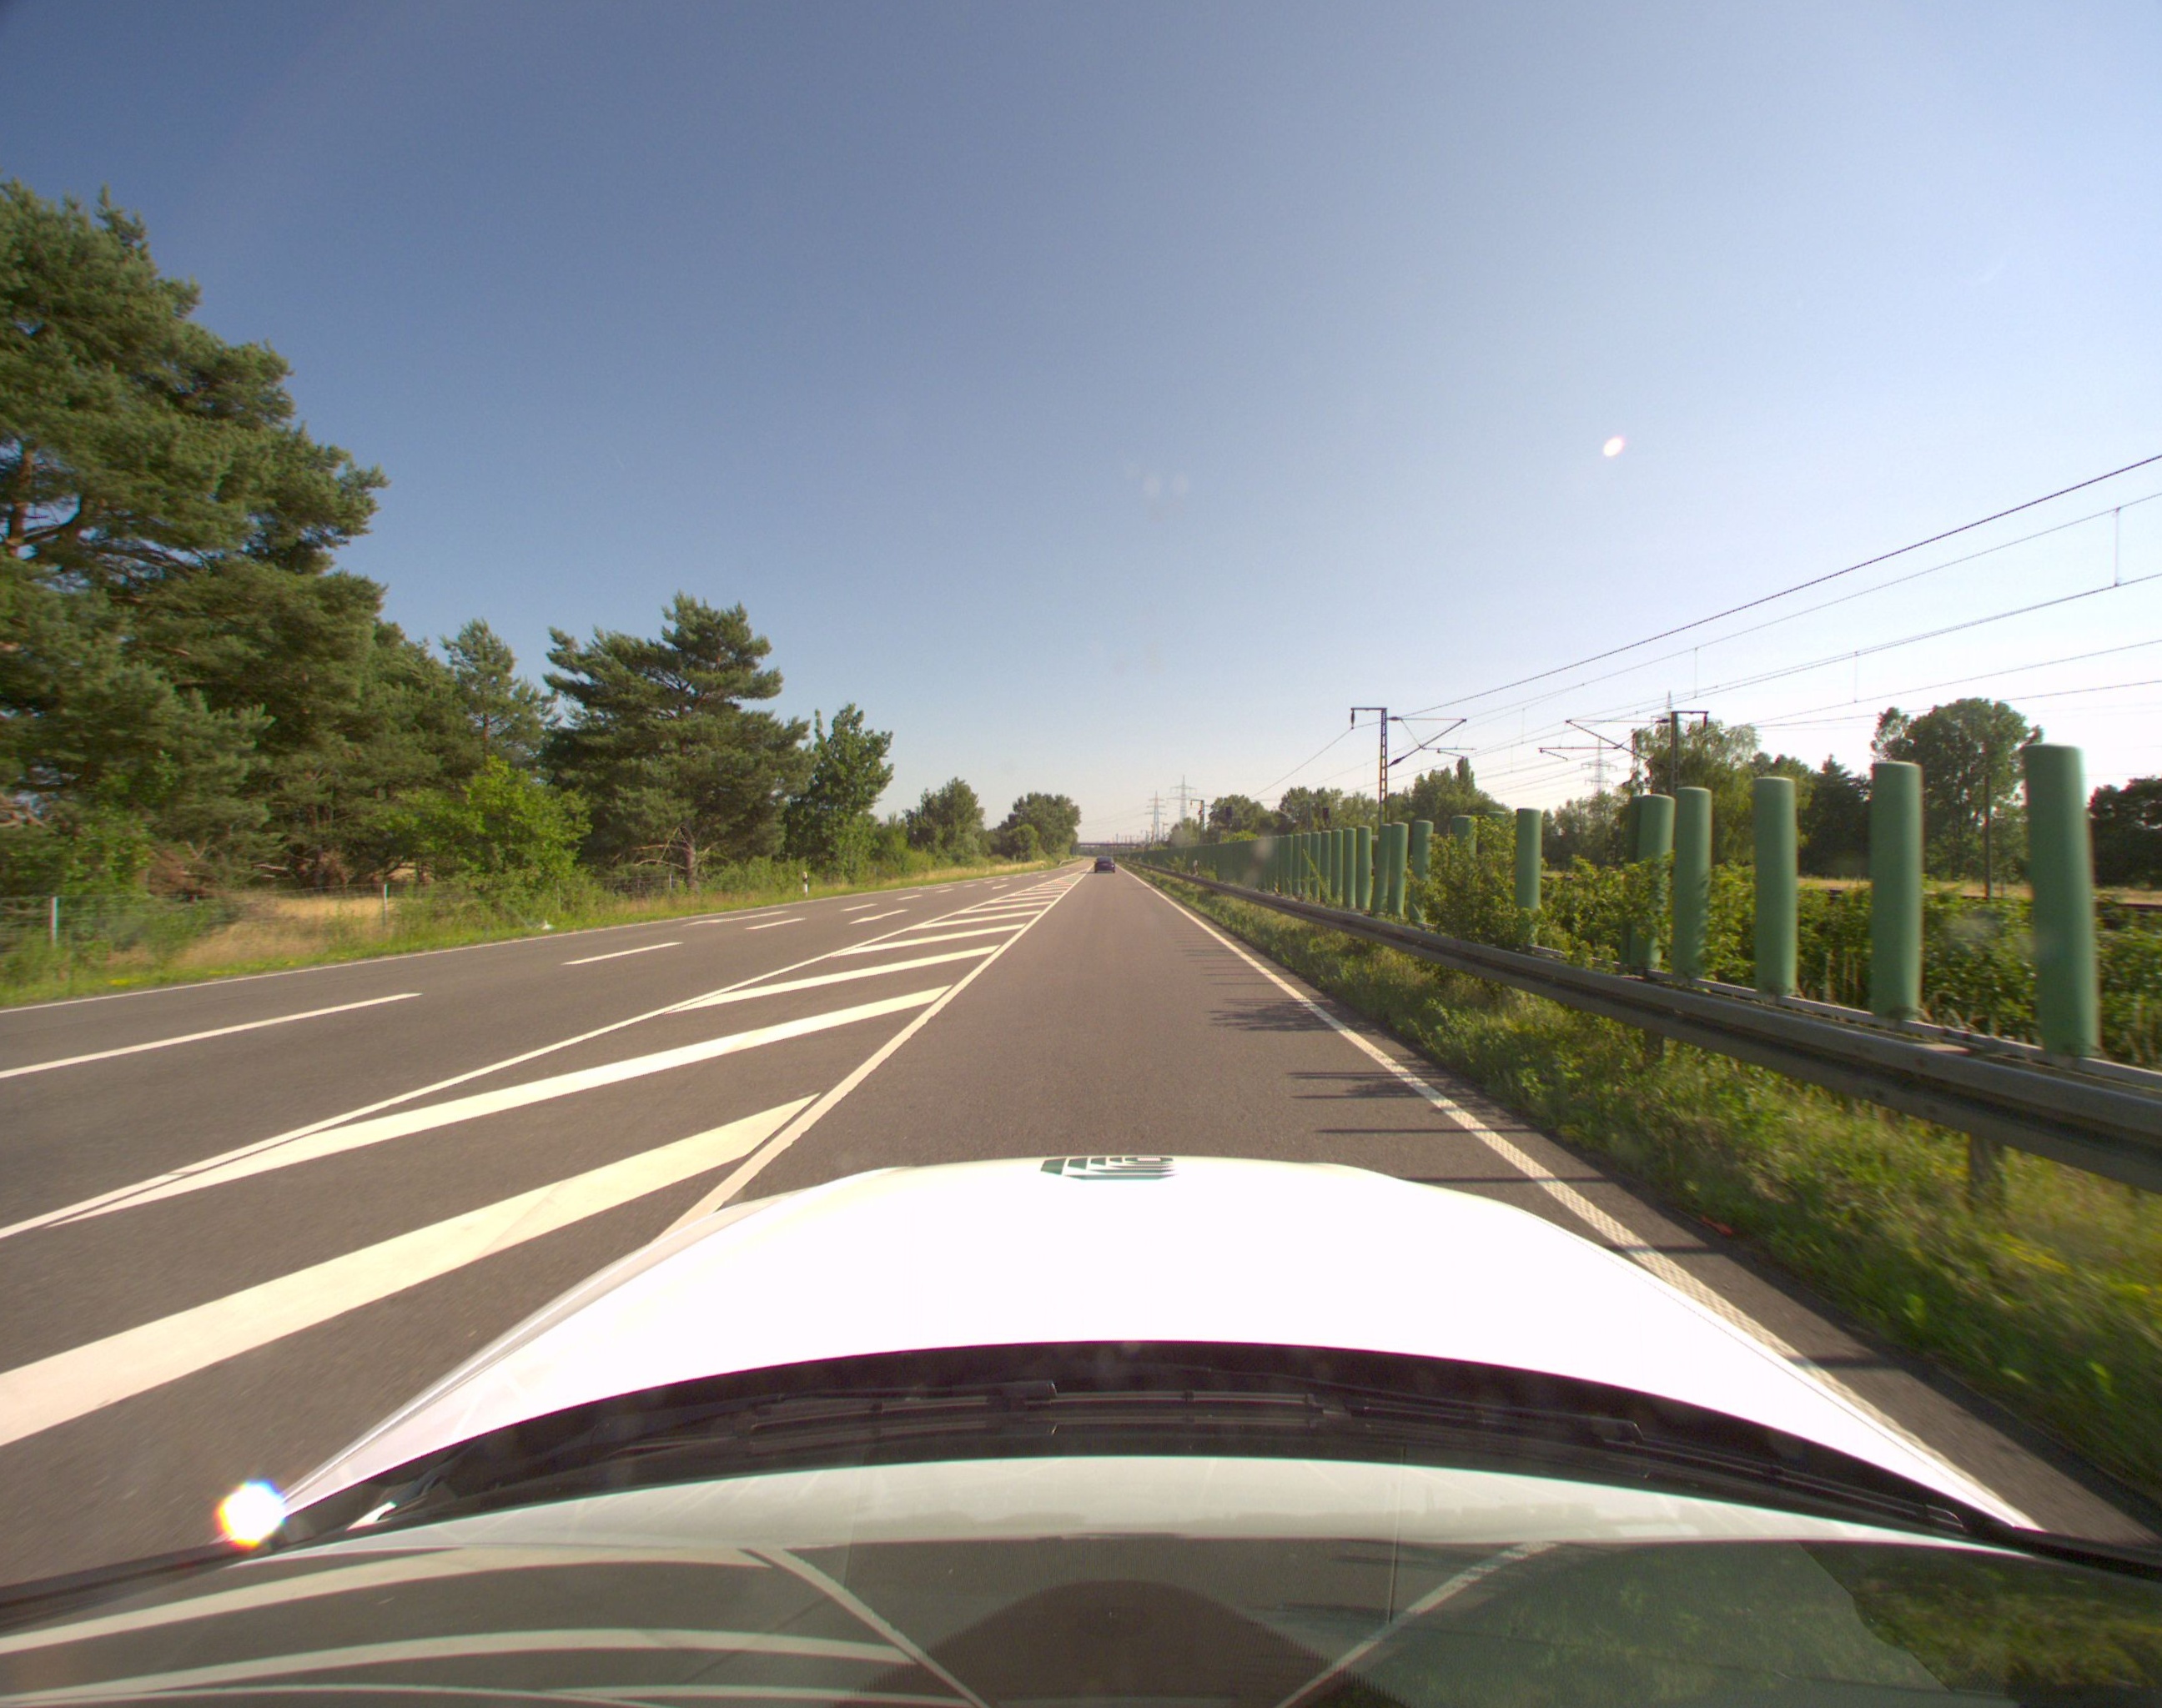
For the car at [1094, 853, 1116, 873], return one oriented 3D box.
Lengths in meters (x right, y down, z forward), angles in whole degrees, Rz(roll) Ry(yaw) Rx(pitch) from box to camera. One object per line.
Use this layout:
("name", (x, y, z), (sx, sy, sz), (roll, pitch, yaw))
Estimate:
("car", (2.159, 0.805, 71.978), (1.851, 1.642, 4.002), (-2, 0, 2))
